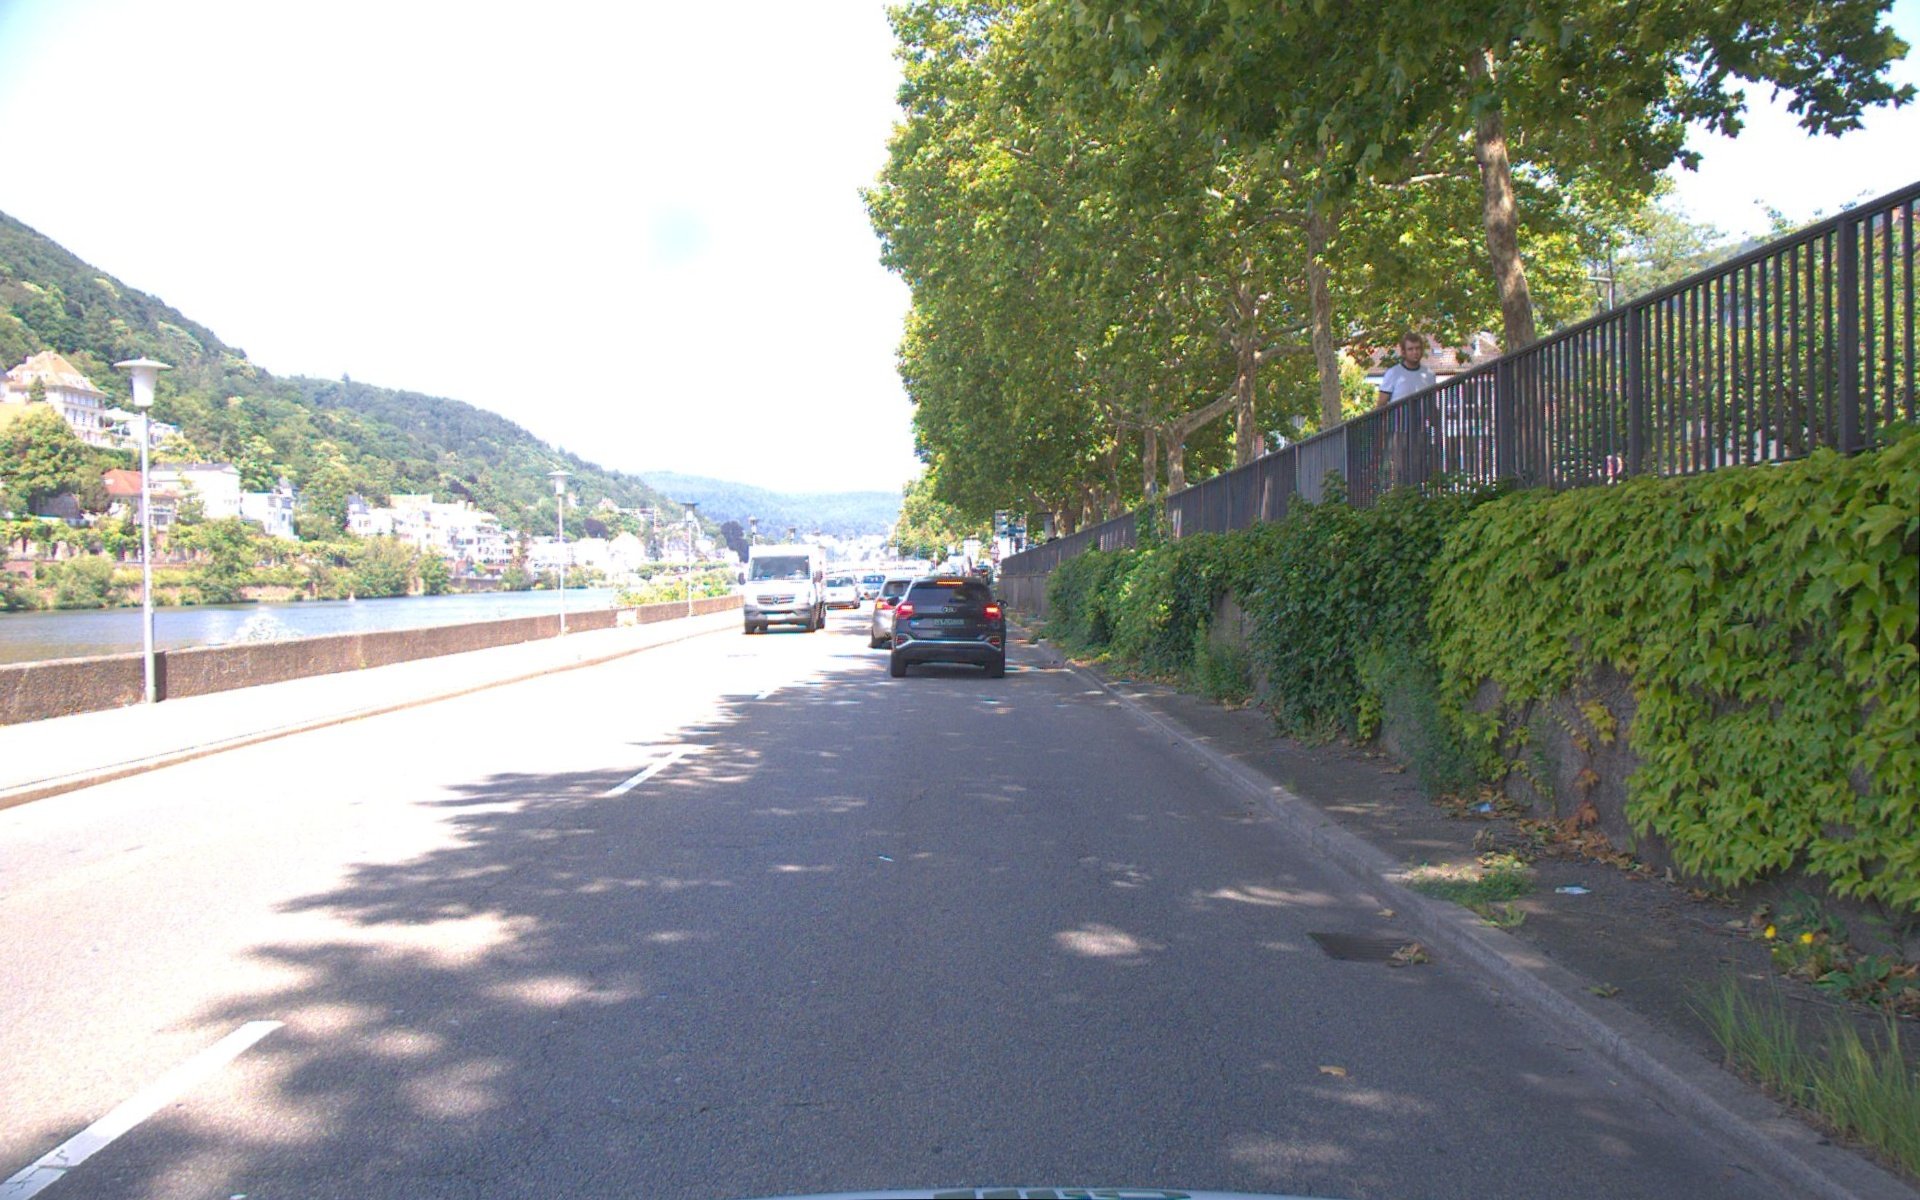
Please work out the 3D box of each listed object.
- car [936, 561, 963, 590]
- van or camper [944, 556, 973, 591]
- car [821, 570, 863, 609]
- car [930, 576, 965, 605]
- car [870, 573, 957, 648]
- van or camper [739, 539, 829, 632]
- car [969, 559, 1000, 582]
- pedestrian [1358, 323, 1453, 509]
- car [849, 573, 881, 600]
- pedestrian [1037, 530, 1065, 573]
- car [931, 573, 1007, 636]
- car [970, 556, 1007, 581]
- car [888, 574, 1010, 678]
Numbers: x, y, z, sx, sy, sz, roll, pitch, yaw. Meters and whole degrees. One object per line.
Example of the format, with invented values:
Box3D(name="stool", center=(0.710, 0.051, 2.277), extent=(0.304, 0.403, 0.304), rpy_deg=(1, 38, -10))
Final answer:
Box3D(name="car", center=(-0.795, -1.897, 127.113), extent=(1.953, 2.207, 3.999), rpy_deg=(0, 1, -2))
Box3D(name="van or camper", center=(-0.112, -2.222, 139.179), extent=(2.262, 2.897, 4.246), rpy_deg=(-1, 1, 1))
Box3D(name="car", center=(-5.437, -0.513, 76.854), extent=(1.696, 1.678, 4.176), rpy_deg=(-2, 1, -1))
Box3D(name="car", center=(-0.688, -0.538, 89.382), extent=(1.791, 1.469, 3.999), rpy_deg=(-1, 1, -2))
Box3D(name="car", center=(-1.008, 0.179, 36.216), extent=(1.791, 1.537, 3.999), rpy_deg=(0, 1, -2))
Box3D(name="van or camper", center=(-4.911, -0.426, 46.898), extent=(2.035, 2.440, 5.384), rpy_deg=(-1, 1, -1))
Box3D(name="car", center=(2.358, -2.837, 161.190), extent=(2.608, 2.048, 5.823), rpy_deg=(-3, 1, -1))
Box3D(name="pedestrian", center=(4.045, -1.656, 15.051), extent=(0.651, 1.619, 0.650), rpy_deg=(-1, 1, -1))
Box3D(name="car", center=(-5.559, -0.807, 97.225), extent=(1.696, 1.467, 4.044), rpy_deg=(-2, 1, -1))
Box3D(name="pedestrian", center=(3.575, -1.894, 65.027), extent=(0.918, 1.606, 1.027), rpy_deg=(-3, 1, -3))
Box3D(name="car", center=(0.184, 0.084, 41.881), extent=(1.791, 1.512, 3.999), rpy_deg=(0, 1, -2))
Box3D(name="car", center=(2.544, -2.841, 150.577), extent=(3.036, 2.048, 5.823), rpy_deg=(-3, 1, -2))
Box3D(name="car", center=(-0.214, 0.349, 26.294), extent=(1.791, 1.512, 3.999), rpy_deg=(0, 1, -2))
